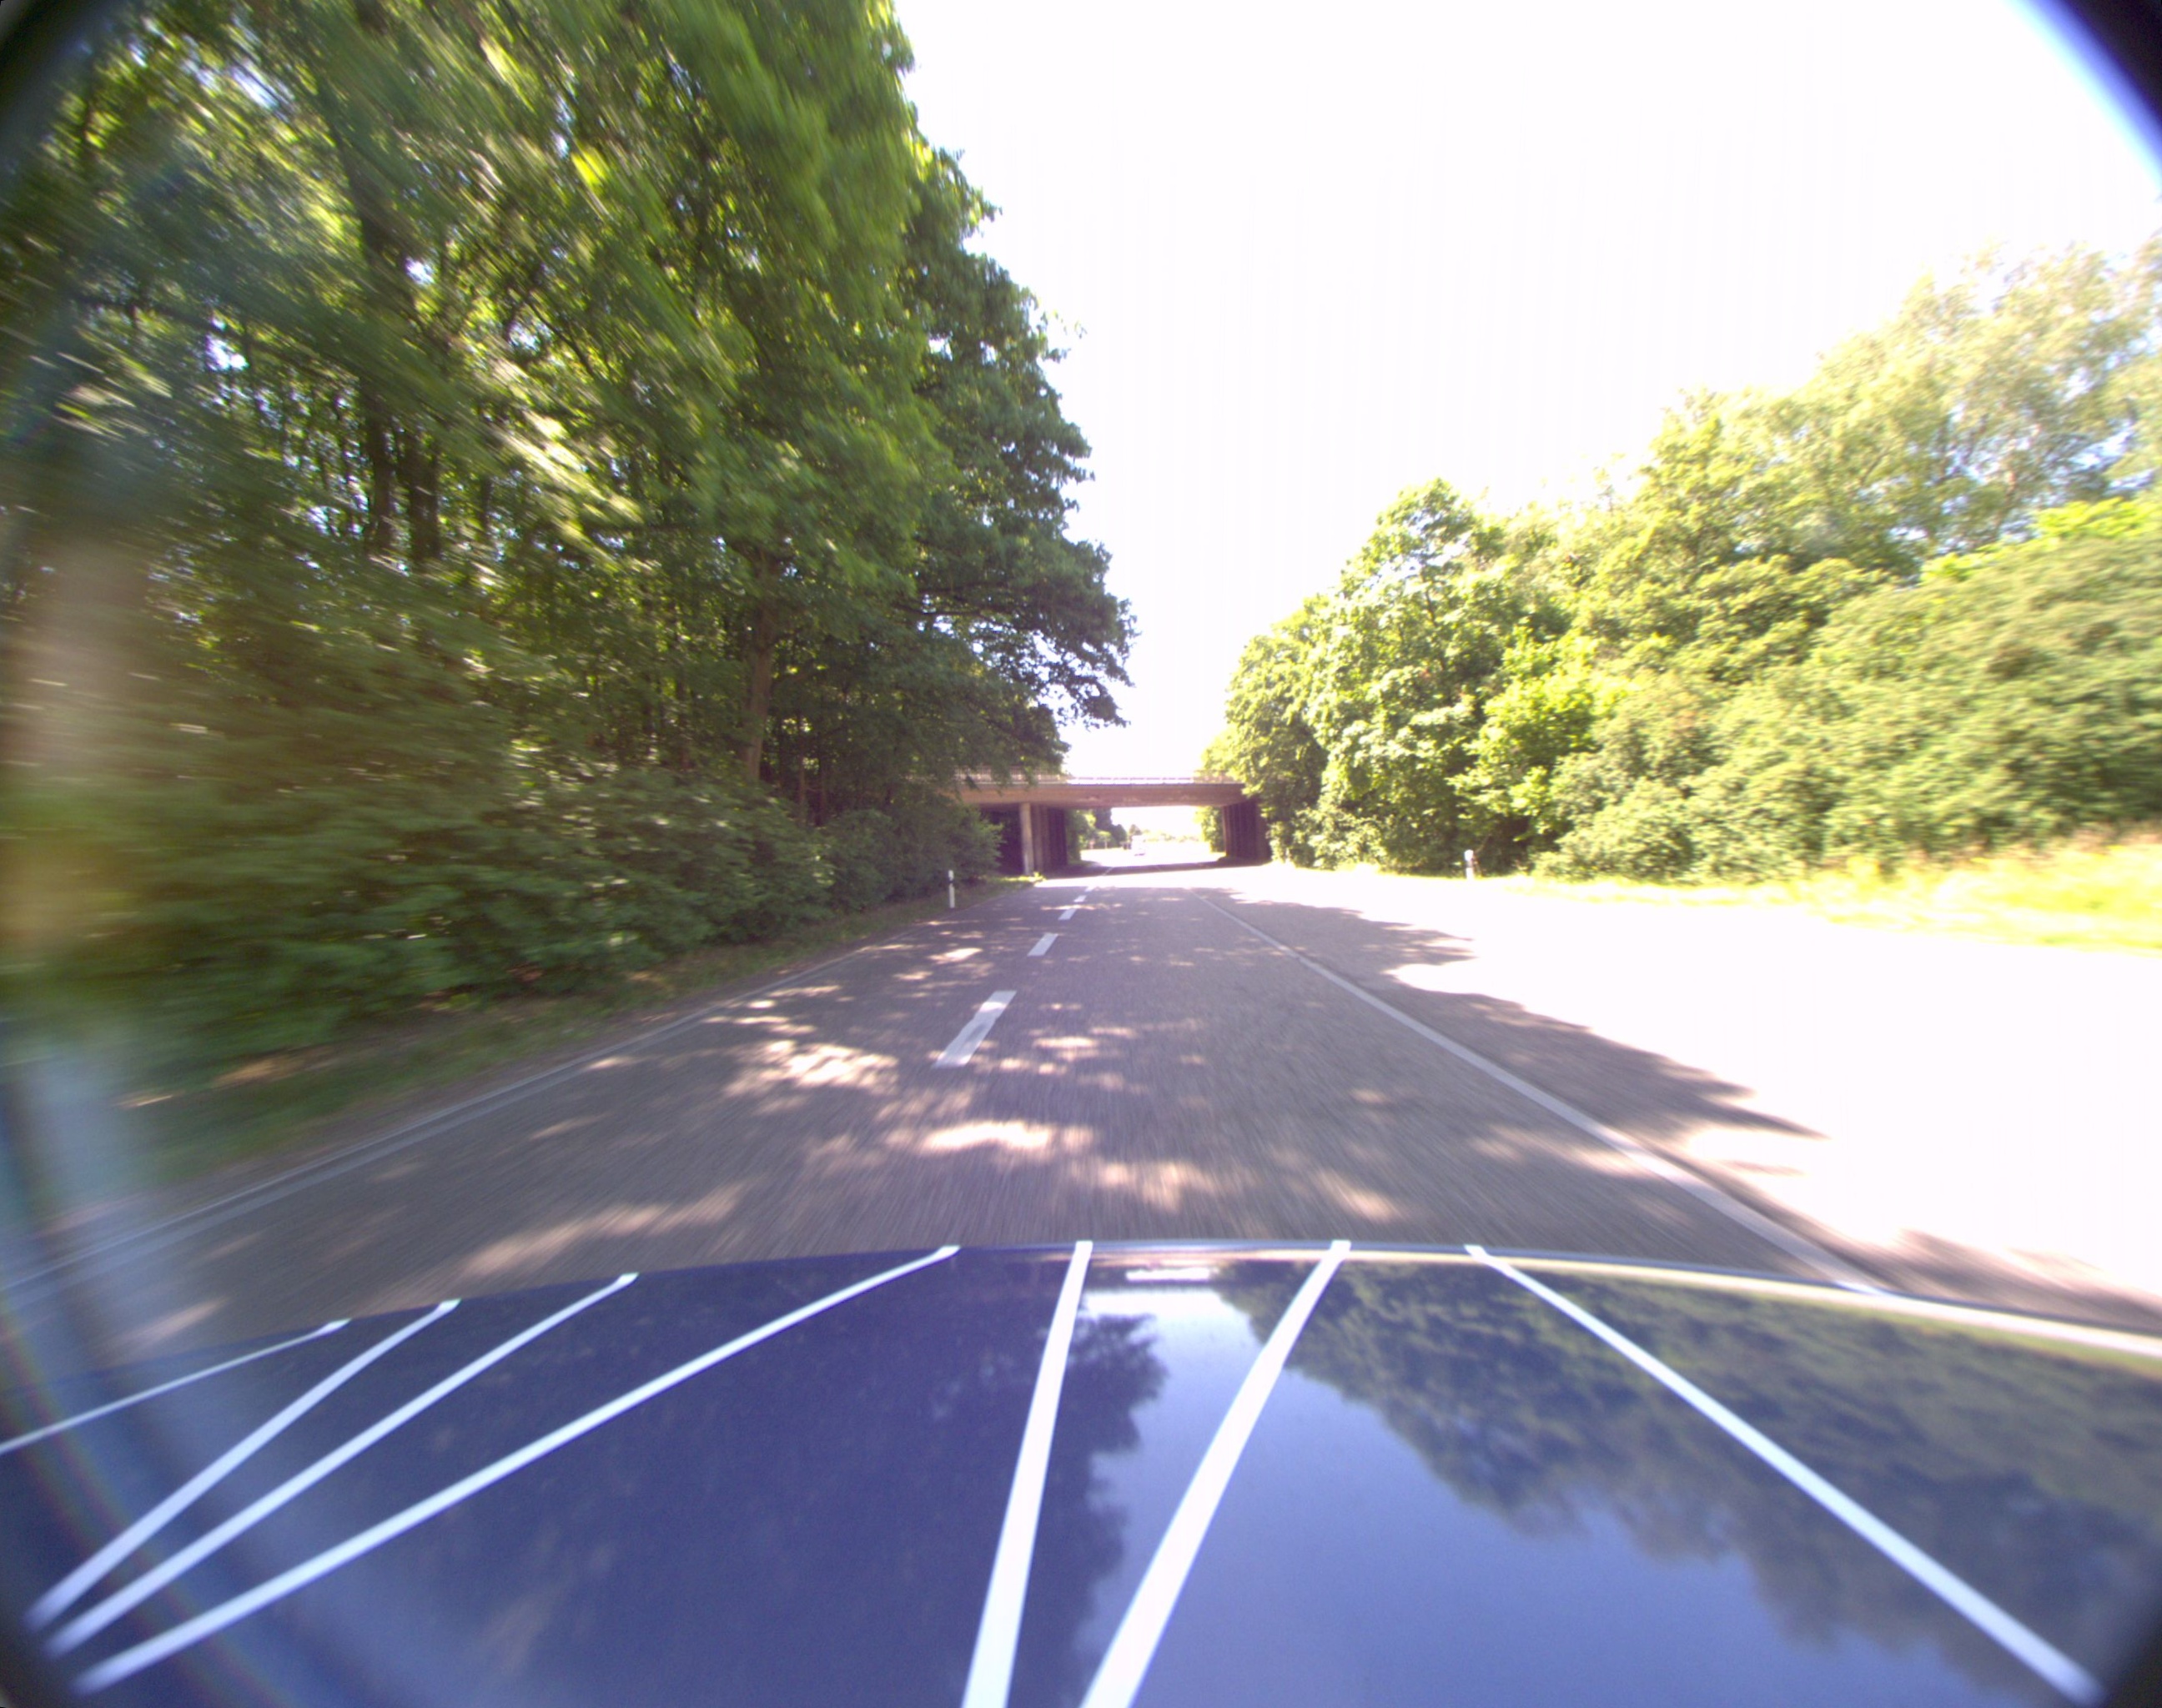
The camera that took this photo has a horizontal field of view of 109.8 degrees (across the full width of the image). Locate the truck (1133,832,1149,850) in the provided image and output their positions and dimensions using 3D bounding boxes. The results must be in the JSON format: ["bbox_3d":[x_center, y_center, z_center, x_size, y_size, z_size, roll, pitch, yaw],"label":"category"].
[{"bbox_3d":[10.286,-2.220,129.419,2.457,2.927,6.976,-2,1,6],"label":"truck"}]

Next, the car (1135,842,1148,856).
[{"bbox_3d":[8.782,-0.735,109.992,1.746,1.833,4.000,-2,1,4],"label":"car"}]
